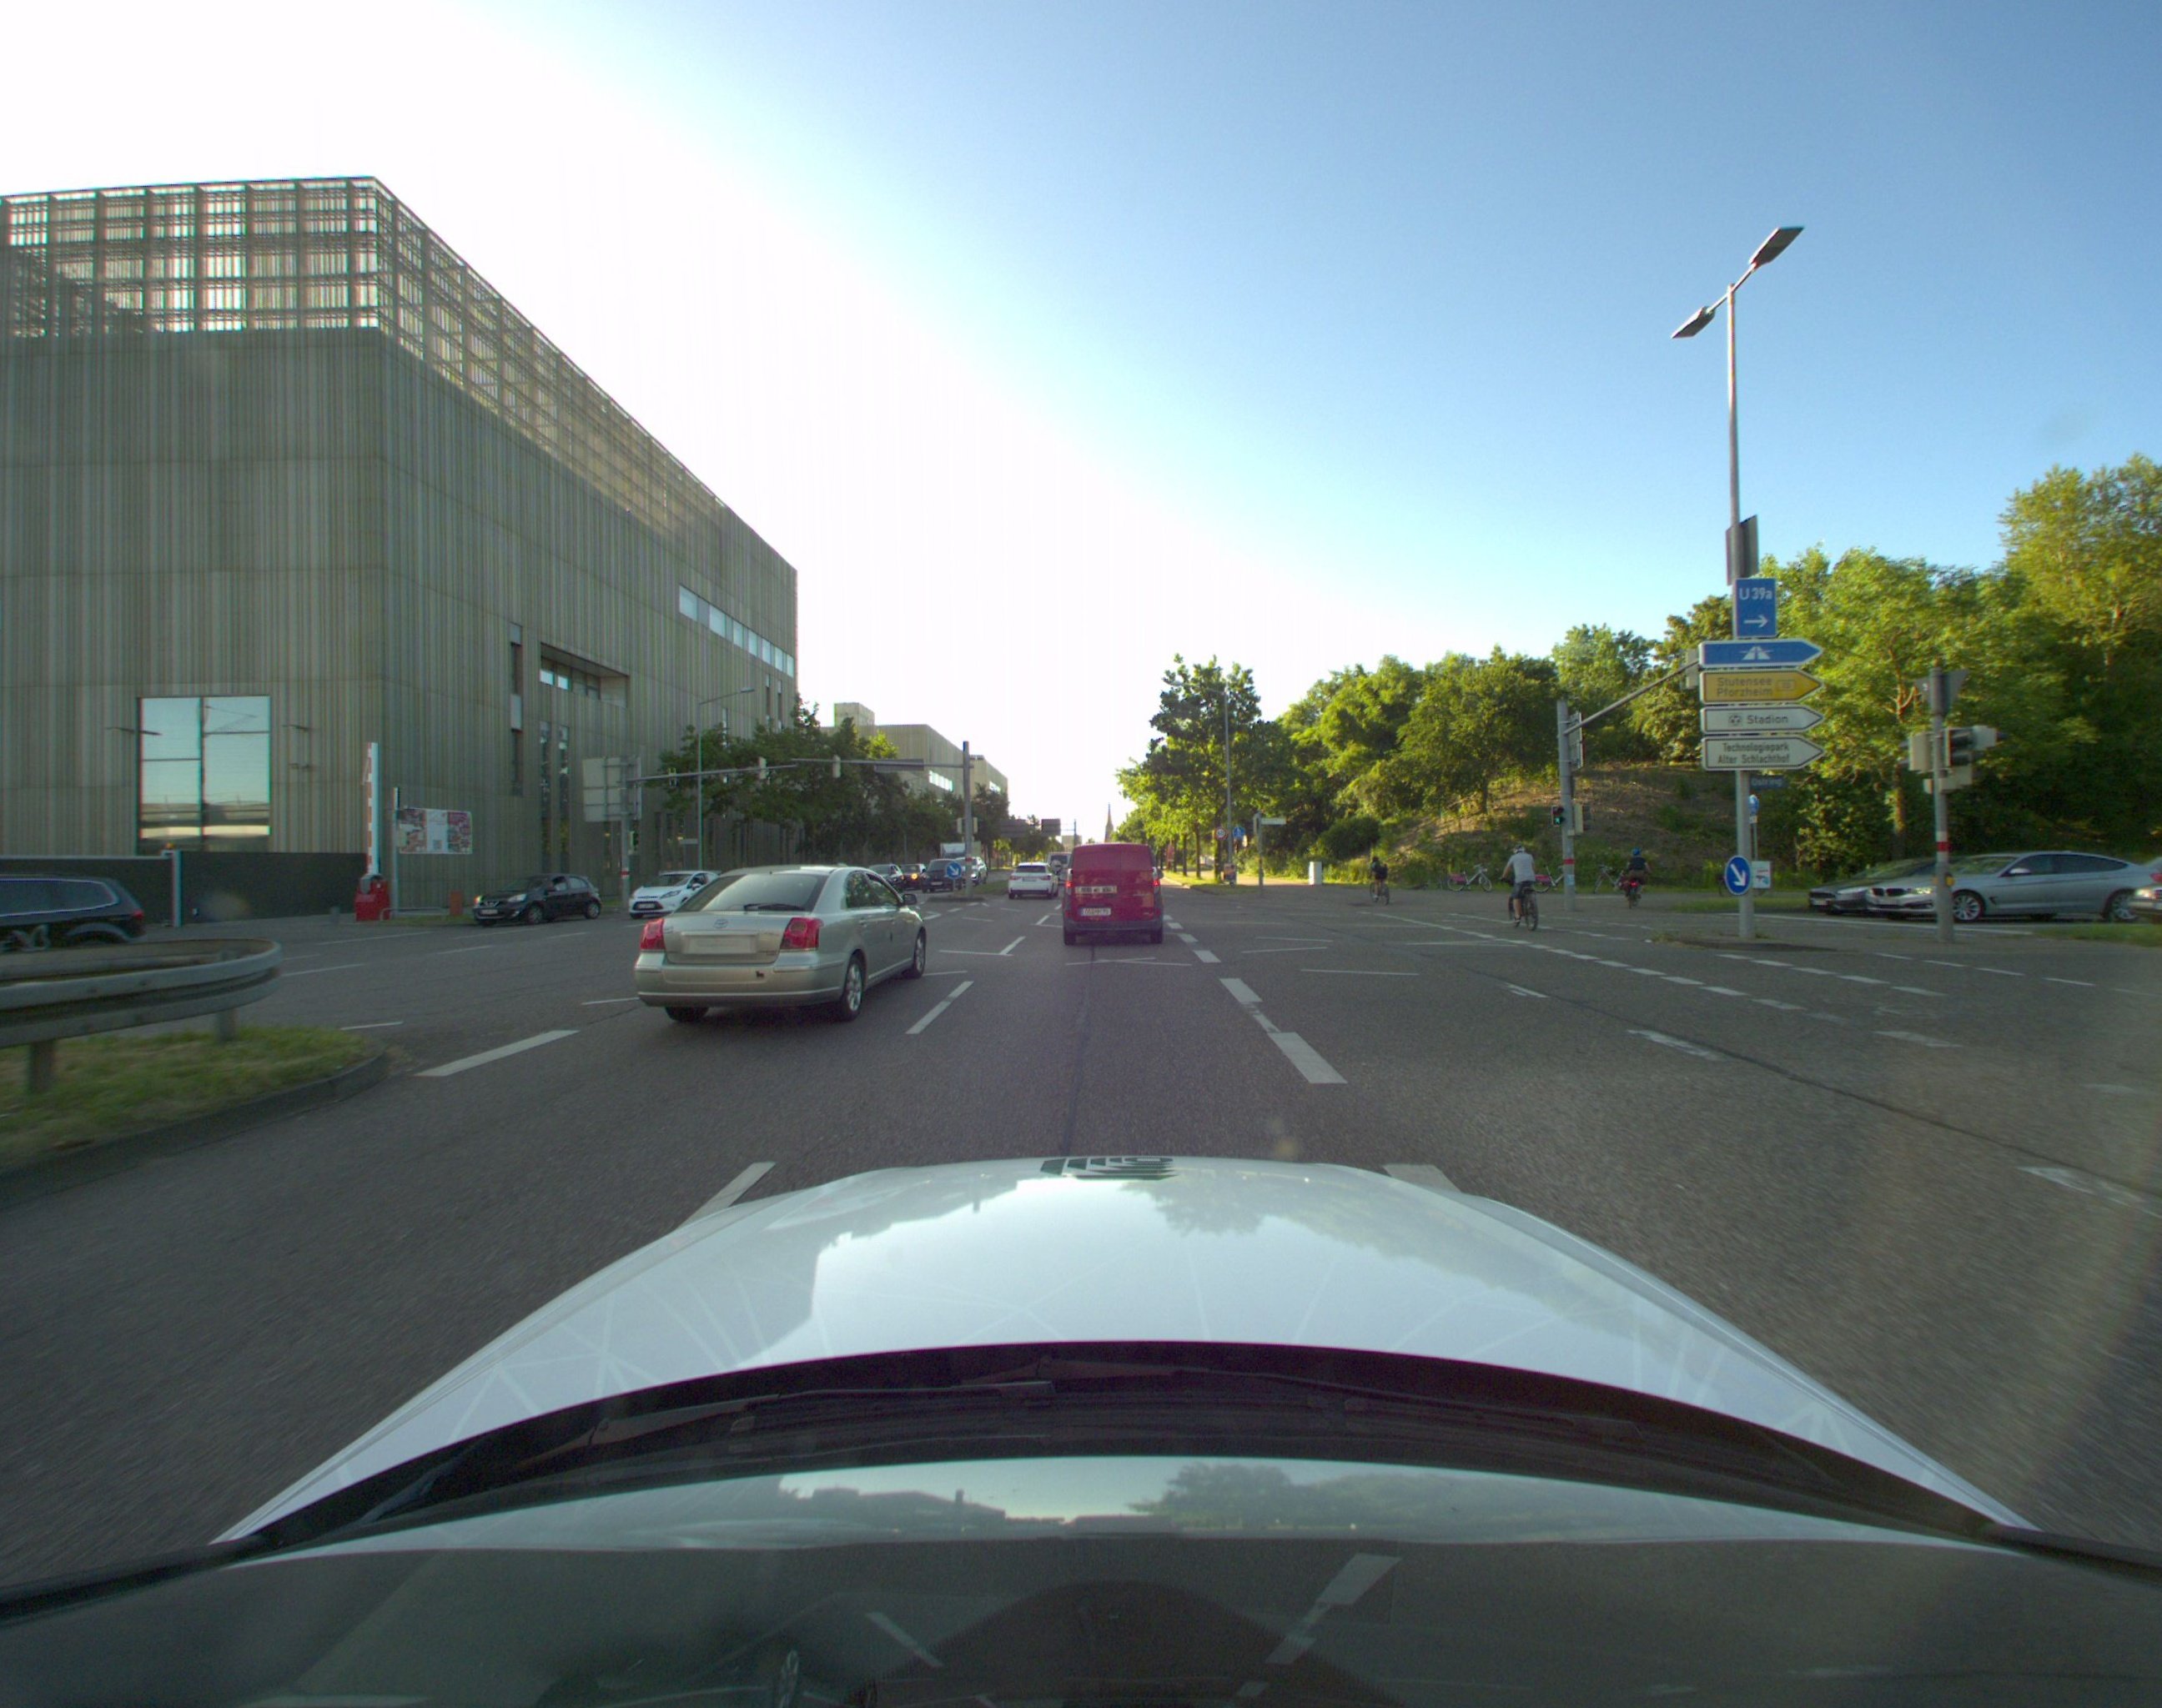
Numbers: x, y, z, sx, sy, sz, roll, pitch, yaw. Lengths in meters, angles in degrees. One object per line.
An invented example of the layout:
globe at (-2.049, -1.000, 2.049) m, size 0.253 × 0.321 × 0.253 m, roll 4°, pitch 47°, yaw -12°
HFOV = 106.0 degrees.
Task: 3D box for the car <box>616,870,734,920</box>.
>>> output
car at (-13.118, 1.287, 26.594) m, size 1.640 × 1.404 × 3.980 m, roll -3°, pitch -1°, yaw 2°

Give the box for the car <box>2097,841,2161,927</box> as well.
car at (21.332, 0.530, 14.181) m, size 4.523 × 1.514 × 1.832 m, roll 0°, pitch -2°, yaw 7°

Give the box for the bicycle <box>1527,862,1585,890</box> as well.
bicycle at (17.507, 0.820, 30.055) m, size 1.734 × 1.023 × 0.595 m, roll 0°, pitch -2°, yaw 9°

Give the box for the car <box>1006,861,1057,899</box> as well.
car at (-1.921, 1.007, 32.709) m, size 1.808 × 1.438 × 3.730 m, roll 0°, pitch -1°, yaw 0°

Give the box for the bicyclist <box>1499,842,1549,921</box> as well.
bicyclist at (8.832, 0.553, 16.272) m, size 0.589 × 1.549 × 0.769 m, roll 0°, pitch -2°, yaw 3°

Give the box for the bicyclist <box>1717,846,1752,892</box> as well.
bicyclist at (21.295, 0.473, 26.543) m, size 0.616 × 1.481 × 0.649 m, roll 0°, pitch -1°, yaw -11°

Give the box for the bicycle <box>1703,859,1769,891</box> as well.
bicycle at (21.342, 0.699, 26.533) m, size 1.744 × 1.023 × 0.667 m, roll 0°, pitch -2°, yaw -10°

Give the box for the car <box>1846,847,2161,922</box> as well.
car at (19.826, 0.663, 17.646) m, size 4.523 × 1.514 × 1.832 m, roll 0°, pitch -2°, yaw 7°

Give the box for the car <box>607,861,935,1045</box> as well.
car at (-2.923, 0.841, 8.803) m, size 1.726 × 1.480 × 4.321 m, roll -1°, pitch -1°, yaw 2°

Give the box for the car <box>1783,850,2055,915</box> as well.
car at (20.537, 0.709, 20.160) m, size 4.523 × 1.514 × 1.832 m, roll 0°, pitch -2°, yaw 7°

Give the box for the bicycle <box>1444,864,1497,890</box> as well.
bicycle at (15.106, 0.894, 31.612) m, size 1.734 × 1.023 × 0.595 m, roll 0°, pitch -2°, yaw 9°

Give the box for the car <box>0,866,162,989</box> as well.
car at (-16.231, 1.088, 11.173) m, size 1.817 × 1.737 × 4.632 m, roll -3°, pitch -1°, yaw 3°

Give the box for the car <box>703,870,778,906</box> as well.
car at (-15.342, 1.487, 36.882) m, size 1.639 × 1.434 × 3.495 m, roll -3°, pitch -1°, yaw 4°

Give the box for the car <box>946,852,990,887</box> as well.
car at (-6.432, 0.890, 46.656) m, size 1.751 × 1.796 × 4.084 m, roll -3°, pitch -1°, yaw 1°

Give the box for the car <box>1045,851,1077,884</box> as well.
car at (-1.206, 0.883, 50.345) m, size 1.795 × 1.989 × 4.588 m, roll 0°, pitch -2°, yaw 1°

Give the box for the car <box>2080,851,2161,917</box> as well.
car at (27.267, 0.710, 19.274) m, size 4.523 × 1.514 × 1.832 m, roll 0°, pitch -2°, yaw 7°

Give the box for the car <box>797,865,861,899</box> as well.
car at (-12.596, 1.360, 41.046) m, size 1.640 × 1.545 × 4.400 m, roll -3°, pitch -1°, yaw 2°

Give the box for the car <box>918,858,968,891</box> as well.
car at (-6.675, 0.978, 39.634) m, size 1.630 × 1.443 × 3.720 m, roll -3°, pitch -1°, yaw 1°

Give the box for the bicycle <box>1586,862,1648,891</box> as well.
bicycle at (19.110, 0.801, 29.079) m, size 1.732 × 1.023 × 0.596 m, roll -1°, pitch -2°, yaw 15°

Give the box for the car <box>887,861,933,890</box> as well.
car at (-9.385, 1.185, 45.048) m, size 1.631 × 1.443 × 4.075 m, roll -3°, pitch -1°, yaw -1°

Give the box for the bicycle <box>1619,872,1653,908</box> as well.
bicycle at (16.285, 1.044, 23.871) m, size 0.665 × 1.023 × 2.068 m, roll -2°, pitch -3°, yaw 38°

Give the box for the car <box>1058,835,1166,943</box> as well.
car at (0.634, 0.649, 15.581) m, size 1.797 × 1.795 × 4.003 m, roll 0°, pitch -2°, yaw 3°

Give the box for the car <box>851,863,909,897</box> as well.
car at (-9.733, 1.233, 39.662) m, size 1.630 × 1.443 × 4.078 m, roll -3°, pitch -1°, yaw 1°

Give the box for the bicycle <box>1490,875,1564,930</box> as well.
bicycle at (8.859, 0.948, 16.247) m, size 0.589 × 1.023 × 1.752 m, roll 0°, pitch -2°, yaw 3°

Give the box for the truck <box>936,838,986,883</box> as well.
truck at (-8.843, 0.506, 60.653) m, size 2.400 × 3.027 × 6.658 m, roll -3°, pitch -1°, yaw 1°

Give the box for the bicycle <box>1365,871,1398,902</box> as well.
bicycle at (10.286, 1.111, 27.936) m, size 0.589 × 1.023 × 1.752 m, roll 0°, pitch -2°, yaw 3°

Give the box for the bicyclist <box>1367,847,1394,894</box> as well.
bicyclist at (10.271, 0.572, 27.953) m, size 0.589 × 1.614 × 0.943 m, roll 0°, pitch -2°, yaw 3°

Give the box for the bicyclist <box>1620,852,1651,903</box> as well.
bicyclist at (16.275, 0.696, 23.894) m, size 0.658 × 1.475 × 0.756 m, roll -2°, pitch -3°, yaw 38°

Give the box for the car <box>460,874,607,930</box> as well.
car at (-16.735, 1.410, 25.157) m, size 1.640 × 1.482 × 3.980 m, roll -3°, pitch -1°, yaw 2°
